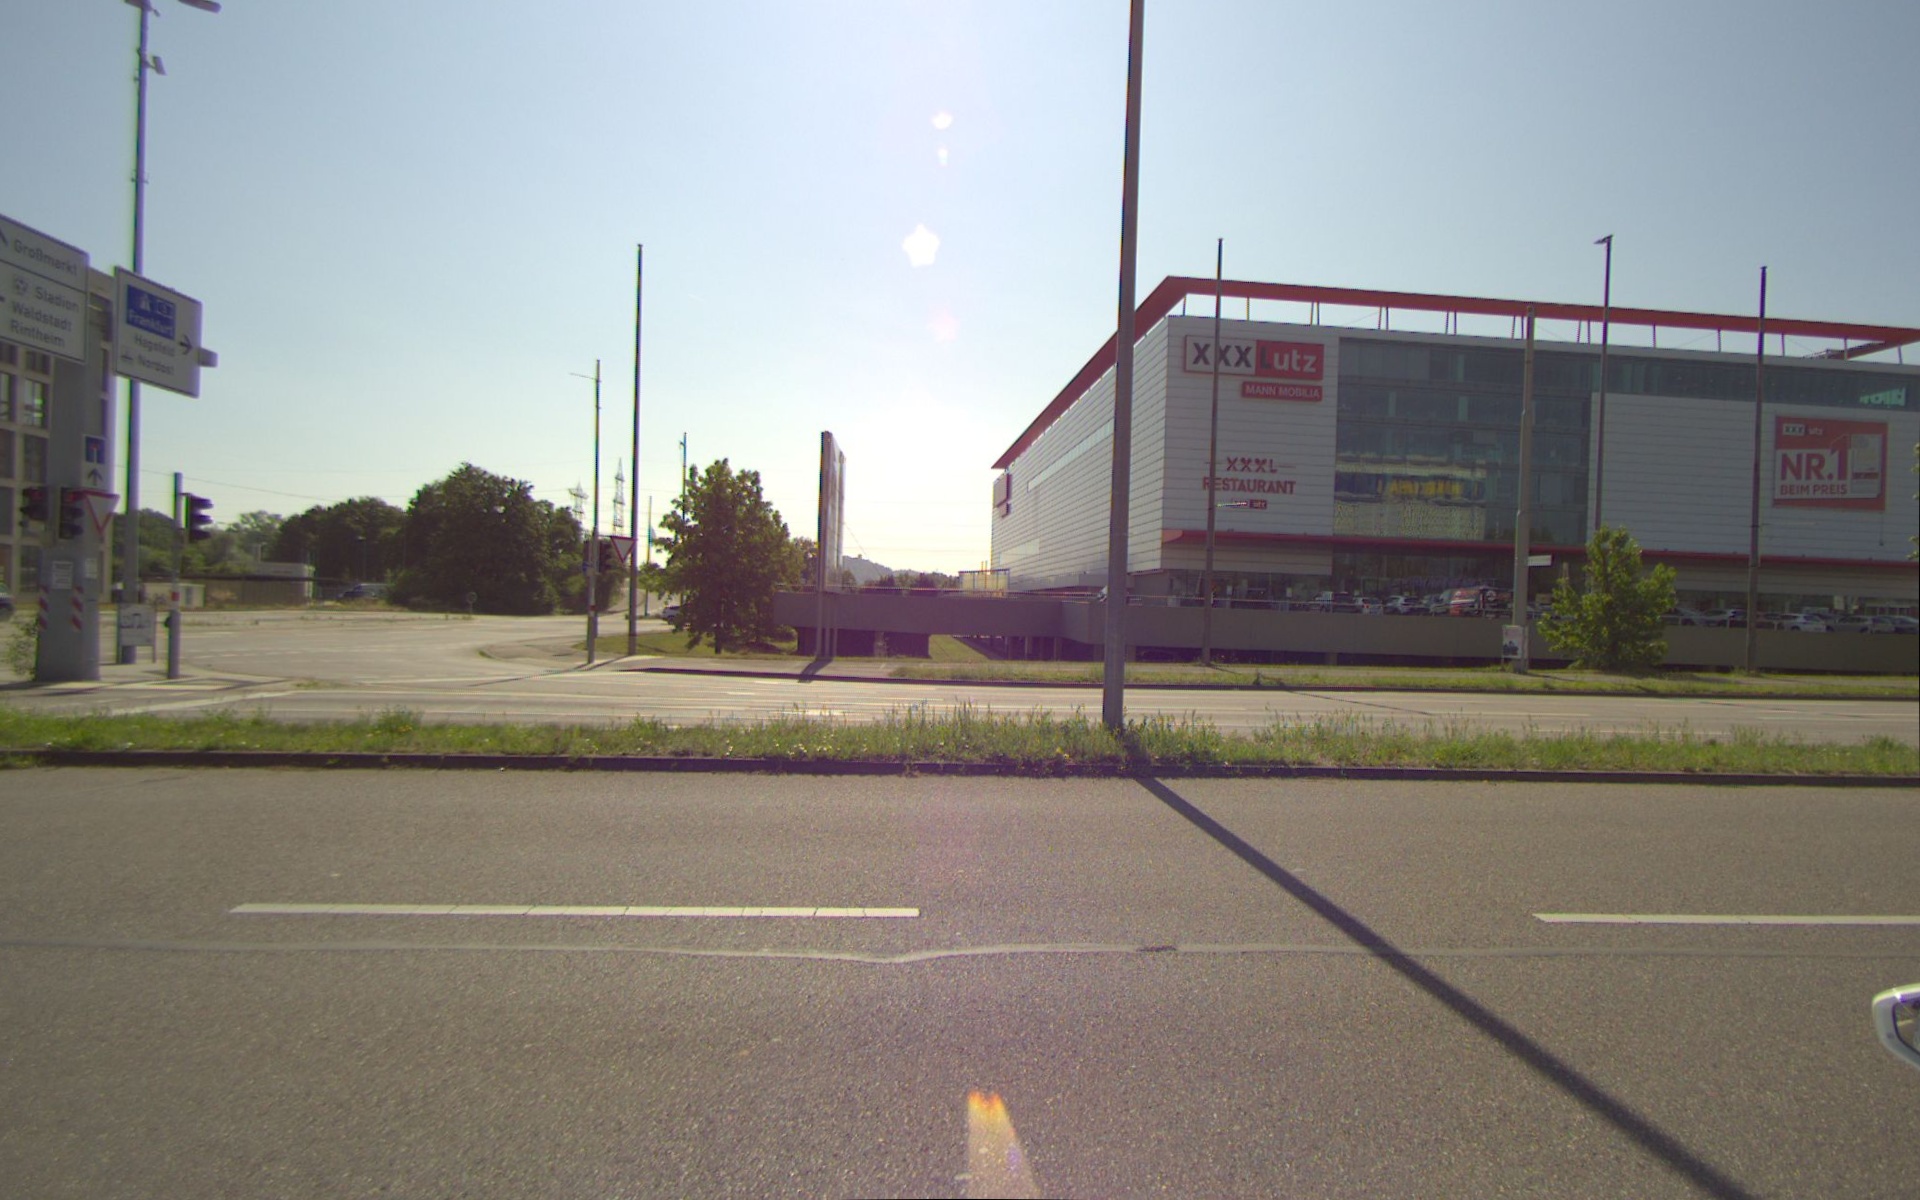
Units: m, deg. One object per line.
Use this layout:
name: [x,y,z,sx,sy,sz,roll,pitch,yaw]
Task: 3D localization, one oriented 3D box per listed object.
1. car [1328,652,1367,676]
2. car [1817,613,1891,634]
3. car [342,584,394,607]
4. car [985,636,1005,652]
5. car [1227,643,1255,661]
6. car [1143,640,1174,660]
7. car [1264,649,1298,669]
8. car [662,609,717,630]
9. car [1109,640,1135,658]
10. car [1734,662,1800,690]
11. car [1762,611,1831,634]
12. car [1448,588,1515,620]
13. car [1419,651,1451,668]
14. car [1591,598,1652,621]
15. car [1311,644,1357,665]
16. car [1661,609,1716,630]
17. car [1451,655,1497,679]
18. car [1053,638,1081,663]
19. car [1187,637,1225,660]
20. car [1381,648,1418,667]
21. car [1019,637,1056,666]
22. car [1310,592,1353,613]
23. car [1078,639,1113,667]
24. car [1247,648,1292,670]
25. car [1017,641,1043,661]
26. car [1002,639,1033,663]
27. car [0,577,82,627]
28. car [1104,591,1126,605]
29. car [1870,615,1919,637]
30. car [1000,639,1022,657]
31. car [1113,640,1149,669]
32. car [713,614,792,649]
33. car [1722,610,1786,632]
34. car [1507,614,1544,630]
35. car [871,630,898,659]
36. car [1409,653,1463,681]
car: [18.788,3.090,48.697,0.894,0.988,1.940,2,0,-8]
car: [58.406,1.528,65.663,1.453,1.214,3.506,2,0,-7]
car: [-67.920,-0.517,115.332,4.991,2.365,1.983,2,0,-31]
car: [2.495,3.125,71.144,1.052,0.988,1.940,2,0,-8]
car: [17.514,3.243,62.636,0.943,0.988,1.940,2,0,-8]
car: [11.003,2.743,55.681,1.052,0.988,1.940,2,0,-8]
car: [18.008,3.314,56.453,1.052,0.988,1.940,2,0,-8]
car: [-22.503,1.638,83.613,3.920,1.643,2.022,1,0,2]
car: [10.119,3.043,62.706,1.052,0.988,1.940,2,0,-8]
car: [33.561,3.165,41.812,1.052,0.988,1.940,2,0,-8]
car: [54.056,1.421,64.971,1.672,1.347,3.094,2,0,-7]
car: [26.357,0.221,50.854,1.741,1.577,2.773,1,-1,-7]
car: [31.060,3.876,65.705,0.905,0.988,1.940,2,0,-8]
car: [42.361,0.596,64.400,1.487,1.347,3.221,2,0,-7]
car: [12.908,1.880,34.712,0.843,0.629,1.562,2,0,-8]
car: [50.736,1.352,70.007,1.277,1.347,3.141,2,0,-7]
car: [25.229,3.289,49.324,1.052,0.988,1.940,2,0,-8]
car: [4.839,2.277,45.503,0.870,0.988,1.942,2,0,-5]
car: [11.683,2.296,47.747,1.052,0.988,1.940,2,0,-8]
car: [24.998,3.268,57.208,1.052,0.988,1.940,2,0,-8]
car: [2.997,1.995,39.053,1.051,1.021,1.941,1,-1,-6]
car: [24.809,0.163,67.120,1.487,1.347,3.017,2,0,-7]
car: [5.267,2.058,39.179,0.850,0.988,1.845,2,0,-8]
car: [12.276,2.333,39.875,0.890,0.743,2.085,2,0,-8]
car: [3.828,2.786,55.113,1.051,1.053,1.941,1,-1,-8]
car: [2.584,2.264,45.225,1.051,0.988,1.941,1,-1,-7]
car: [-38.073,0.061,40.512,1.800,1.914,4.240,2,0,-5]
car: [11.661,-0.131,75.543,1.052,0.988,1.940,2,0,-8]
car: [61.430,1.698,65.345,1.487,1.347,3.094,2,0,-7]
car: [3.163,2.987,62.782,0.914,0.988,1.939,2,0,-11]
car: [5.827,1.860,34.304,0.778,0.894,1.504,2,0,-8]
car: [-11.364,1.715,55.243,3.924,1.757,1.999,2,0,-5]
car: [51.396,1.334,65.055,1.487,1.347,3.094,2,0,-7]
car: [34.986,1.363,62.197,1.051,0.988,1.940,1,-1,-8]
car: [-2.898,1.694,38.353,0.873,0.988,1.940,2,0,-8]
car: [19.244,2.697,40.679,1.052,0.988,1.940,2,0,-8]
